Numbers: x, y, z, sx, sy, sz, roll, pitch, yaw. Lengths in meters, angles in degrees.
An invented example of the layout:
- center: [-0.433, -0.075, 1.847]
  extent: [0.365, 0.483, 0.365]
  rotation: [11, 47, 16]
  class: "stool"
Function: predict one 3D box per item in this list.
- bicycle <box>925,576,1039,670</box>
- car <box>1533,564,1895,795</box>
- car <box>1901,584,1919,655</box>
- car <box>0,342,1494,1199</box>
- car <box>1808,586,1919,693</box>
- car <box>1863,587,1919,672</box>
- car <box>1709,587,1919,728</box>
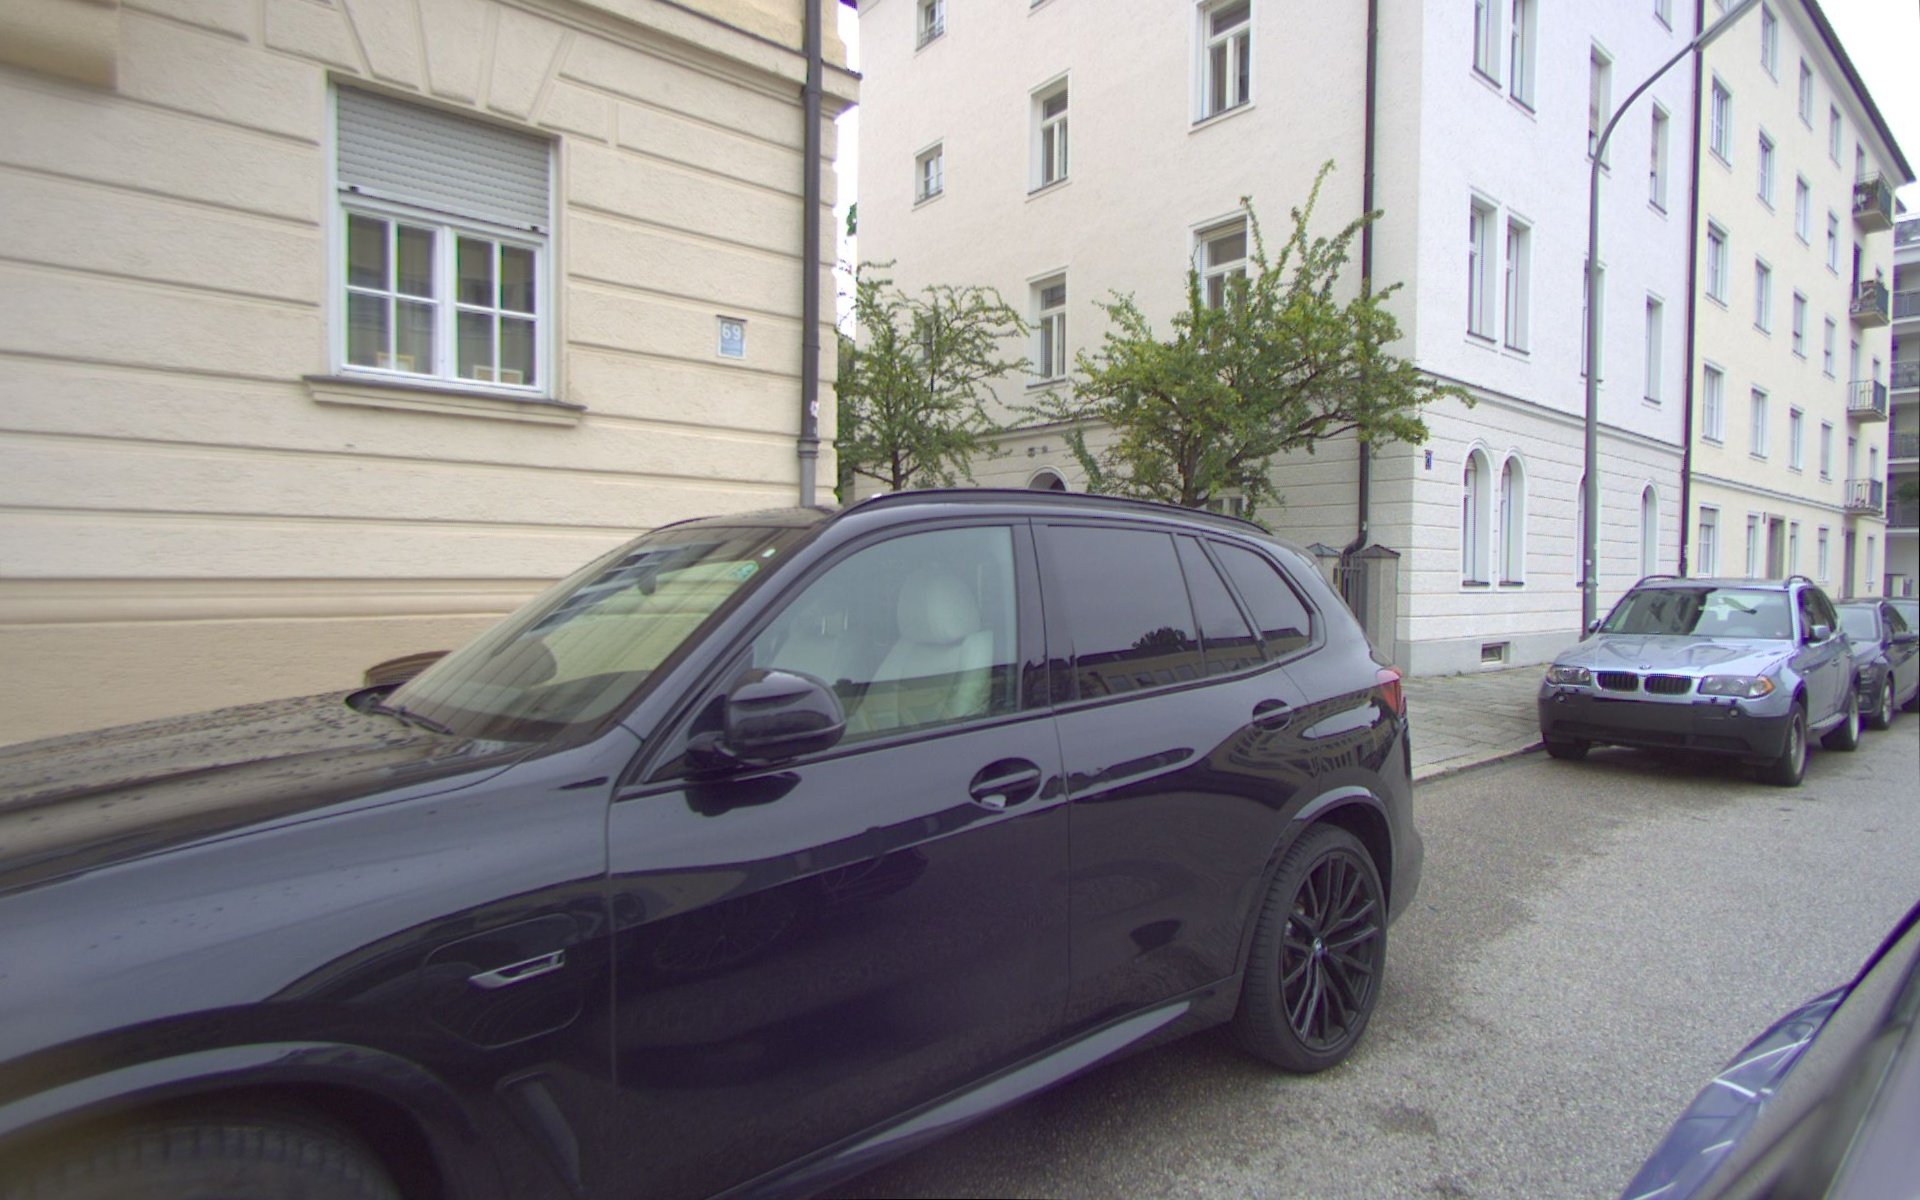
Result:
- center: [0.260, 0.268, 13.775]
  extent: [0.570, 1.107, 1.880]
  rotation: [-1, 4, -33]
  class: "bicycle"
- center: [7.079, 0.514, 9.323]
  extent: [4.379, 1.654, 1.726]
  rotation: [-1, 2, -40]
  class: "car"
- center: [22.385, 0.409, 22.526]
  extent: [4.095, 1.500, 1.682]
  rotation: [-1, 2, -41]
  class: "car"
- center: [-0.437, 0.539, 2.982]
  extent: [4.779, 1.738, 1.873]
  rotation: [-1, 1, -40]
  class: "car"
- center: [14.675, 0.531, 15.703]
  extent: [4.315, 1.445, 1.682]
  rotation: [-1, 2, -41]
  class: "car"
- center: [18.384, 0.506, 18.971]
  extent: [4.095, 1.445, 1.682]
  rotation: [-1, 2, -41]
  class: "car"
- center: [10.959, 0.578, 12.654]
  extent: [4.015, 1.445, 1.682]
  rotation: [-1, 2, -40]
  class: "car"
